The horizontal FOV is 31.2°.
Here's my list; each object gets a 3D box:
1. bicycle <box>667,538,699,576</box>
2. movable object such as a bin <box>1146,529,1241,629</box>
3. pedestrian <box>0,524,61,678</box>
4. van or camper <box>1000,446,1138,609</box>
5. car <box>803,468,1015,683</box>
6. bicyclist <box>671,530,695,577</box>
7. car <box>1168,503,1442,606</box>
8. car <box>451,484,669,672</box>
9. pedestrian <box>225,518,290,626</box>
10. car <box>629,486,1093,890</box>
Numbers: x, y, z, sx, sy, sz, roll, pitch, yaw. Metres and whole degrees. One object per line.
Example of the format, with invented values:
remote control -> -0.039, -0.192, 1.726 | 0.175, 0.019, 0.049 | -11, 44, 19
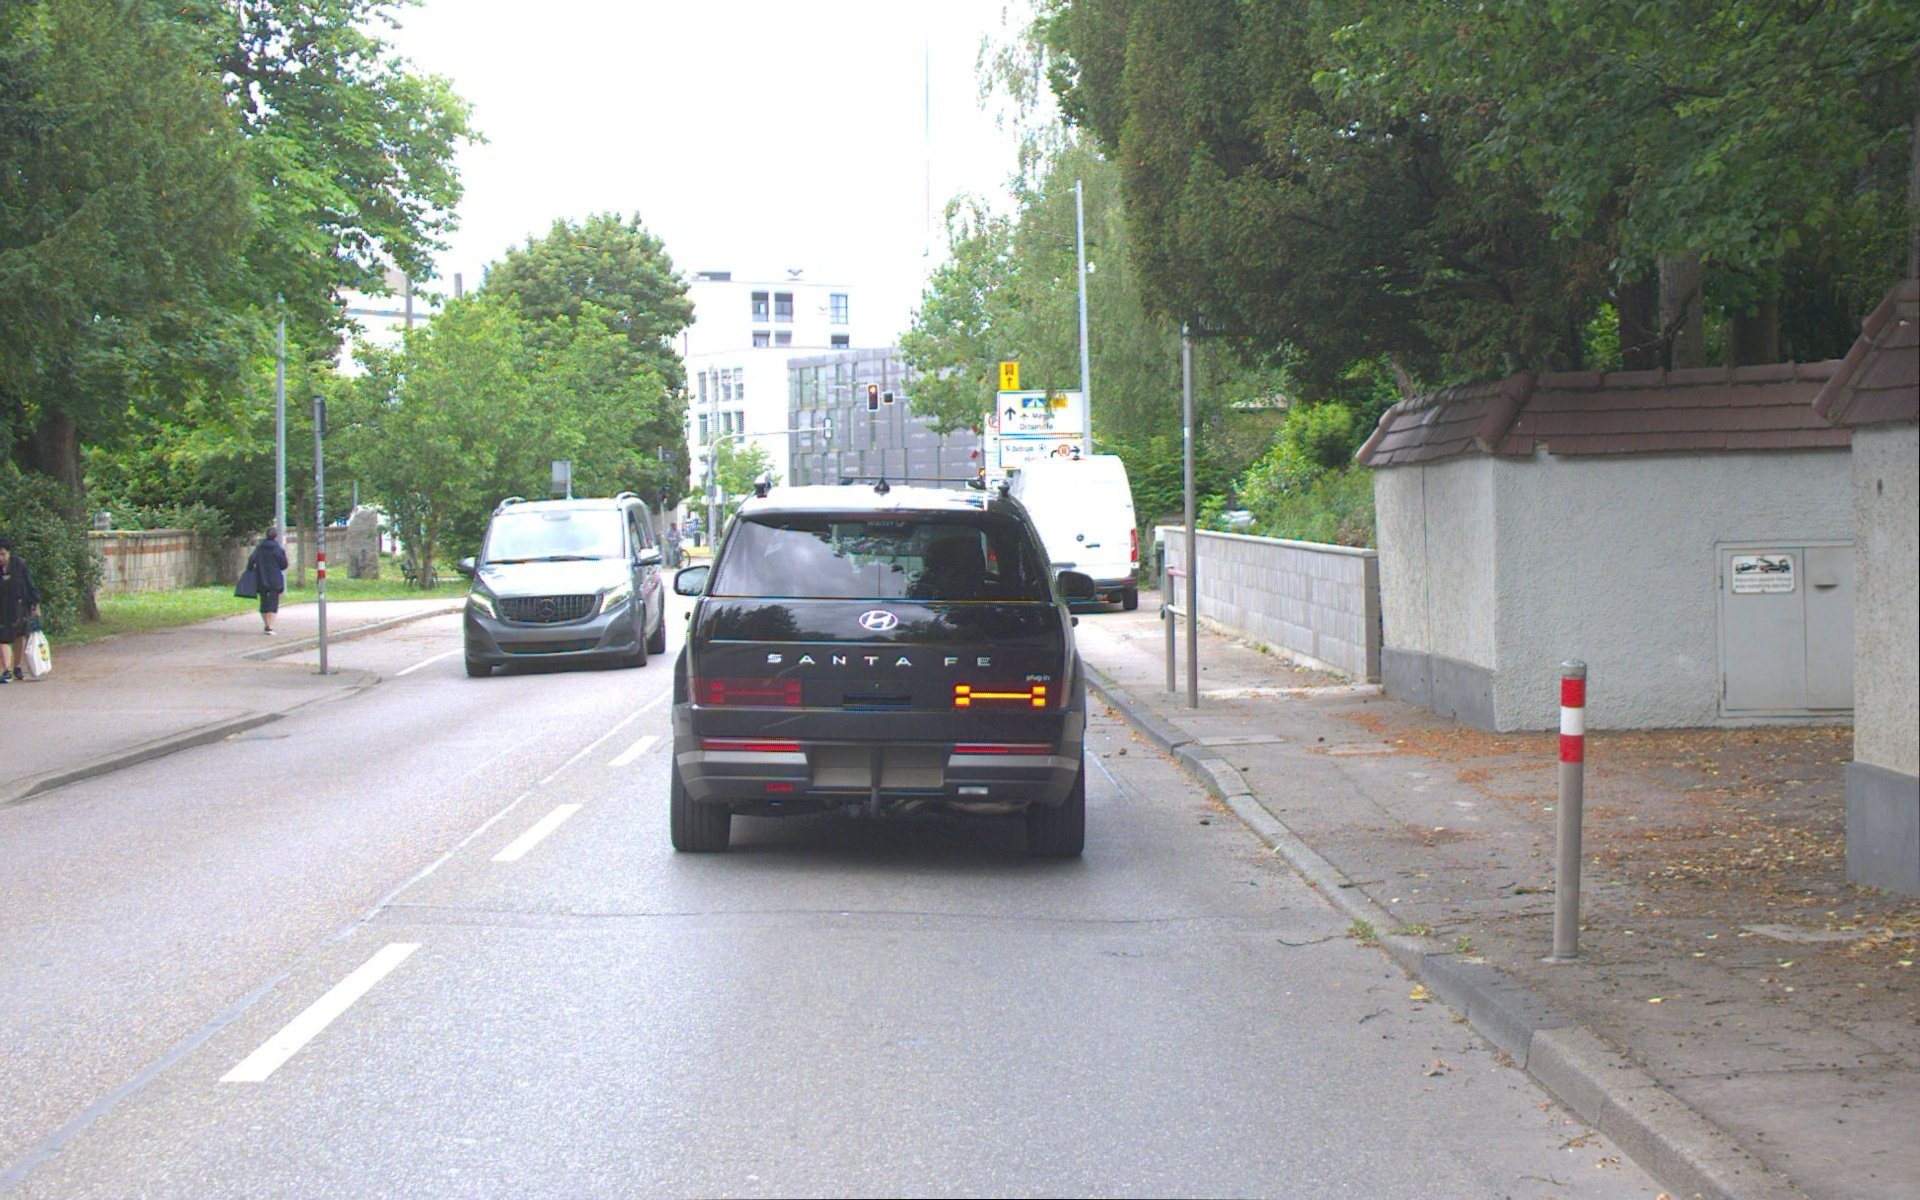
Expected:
bicycle -> -9.806, -1.514, 121.633 | 0.675, 1.275, 2.502 | 1, -1, -14
movable object such as a bin -> 3.477, -0.323, 51.369 | 1.299, 1.445, 1.181 | -1, 1, -1
pedestrian -> -9.869, -0.002, 35.487 | 0.925, 1.555, 0.902 | 2, 0, -5
van or camper -> 1.850, -1.267, 60.218 | 1.963, 2.619, 6.359 | -2, 1, -1
car -> -0.527, -0.271, 34.300 | 1.963, 1.994, 4.000 | 1, 1, -1
bicyclist -> -9.804, -1.643, 121.662 | 0.675, 1.653, 0.859 | 1, -1, -14
car -> 5.730, -0.771, 57.492 | 4.394, 1.646, 1.830 | -1, 1, 1
car -> -4.394, -0.276, 38.499 | 1.890, 1.849, 5.084 | -4, 1, -2
pedestrian -> -10.459, -0.422, 51.197 | 0.748, 1.572, 0.967 | 1, 1, -1
car -> -0.446, 0.338, 16.801 | 1.963, 1.705, 4.000 | 1, 1, -1
